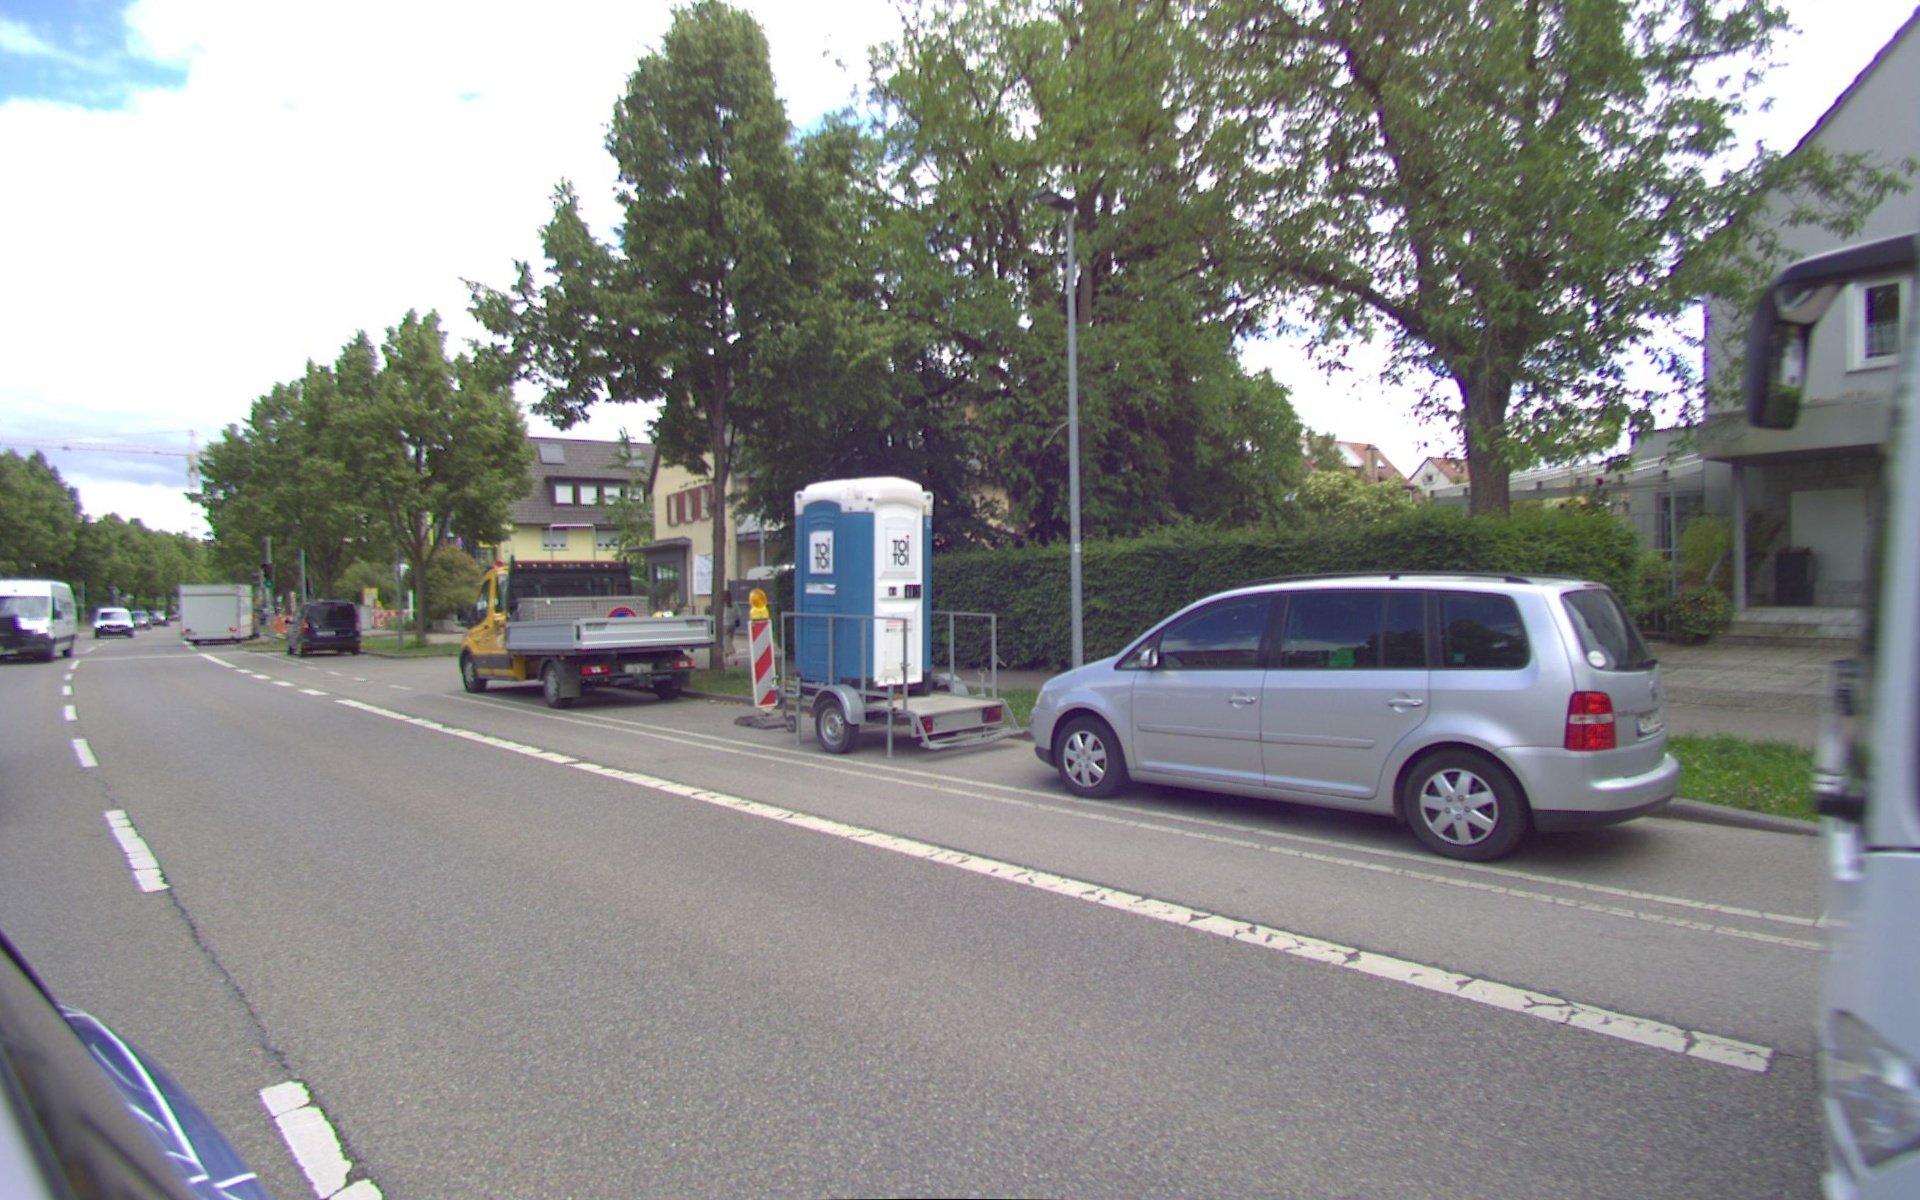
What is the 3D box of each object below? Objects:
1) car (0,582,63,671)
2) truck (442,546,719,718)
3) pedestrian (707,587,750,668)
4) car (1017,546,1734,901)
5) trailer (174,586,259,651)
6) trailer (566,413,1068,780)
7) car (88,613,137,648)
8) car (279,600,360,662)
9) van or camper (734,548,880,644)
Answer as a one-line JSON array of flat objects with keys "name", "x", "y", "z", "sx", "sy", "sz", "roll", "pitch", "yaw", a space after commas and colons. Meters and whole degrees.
[{"name": "car", "x": -29.476, "y": 0.815, "z": 31.641, "sx": 1.969, "sy": 2.619, "sz": 4.007, "roll": -2, "pitch": 0, "yaw": -40}, {"name": "truck", "x": -6.530, "y": 0.467, "z": 16.778, "sx": 2.266, "sy": 2.304, "sz": 6.473, "roll": -1, "pitch": 0, "yaw": -40}, {"name": "pedestrian", "x": -5.172, "y": 0.609, "z": 22.585, "sx": 0.633, "sy": 1.755, "sz": 0.723, "roll": -1, "pitch": 0, "yaw": -40}, {"name": "car", "x": 2.517, "y": 0.579, "z": 6.935, "sx": 1.669, "sy": 1.696, "sz": 4.229, "roll": -2, "pitch": 1, "yaw": -44}, {"name": "trailer", "x": -35.558, "y": 0.847, "z": 48.636, "sx": 2.598, "sy": 2.900, "sz": 6.891, "roll": -1, "pitch": 0, "yaw": -31}, {"name": "trailer", "x": -2.133, "y": 0.005, "z": 11.683, "sx": 2.342, "sy": 2.985, "sz": 7.021, "roll": -1, "pitch": 0, "yaw": -40}, {"name": "car", "x": -51.224, "y": 1.802, "z": 61.245, "sx": 1.967, "sy": 2.029, "sz": 4.009, "roll": 0, "pitch": -1, "yaw": -36}, {"name": "car", "x": -21.380, "y": 0.983, "z": 33.711, "sx": 1.686, "sy": 1.888, "sz": 4.405, "roll": -1, "pitch": 0, "yaw": -40}, {"name": "van or camper", "x": -5.229, "y": -0.117, "z": 33.648, "sx": 2.561, "sy": 2.905, "sz": 5.953, "roll": -1, "pitch": 0, "yaw": -33}]
